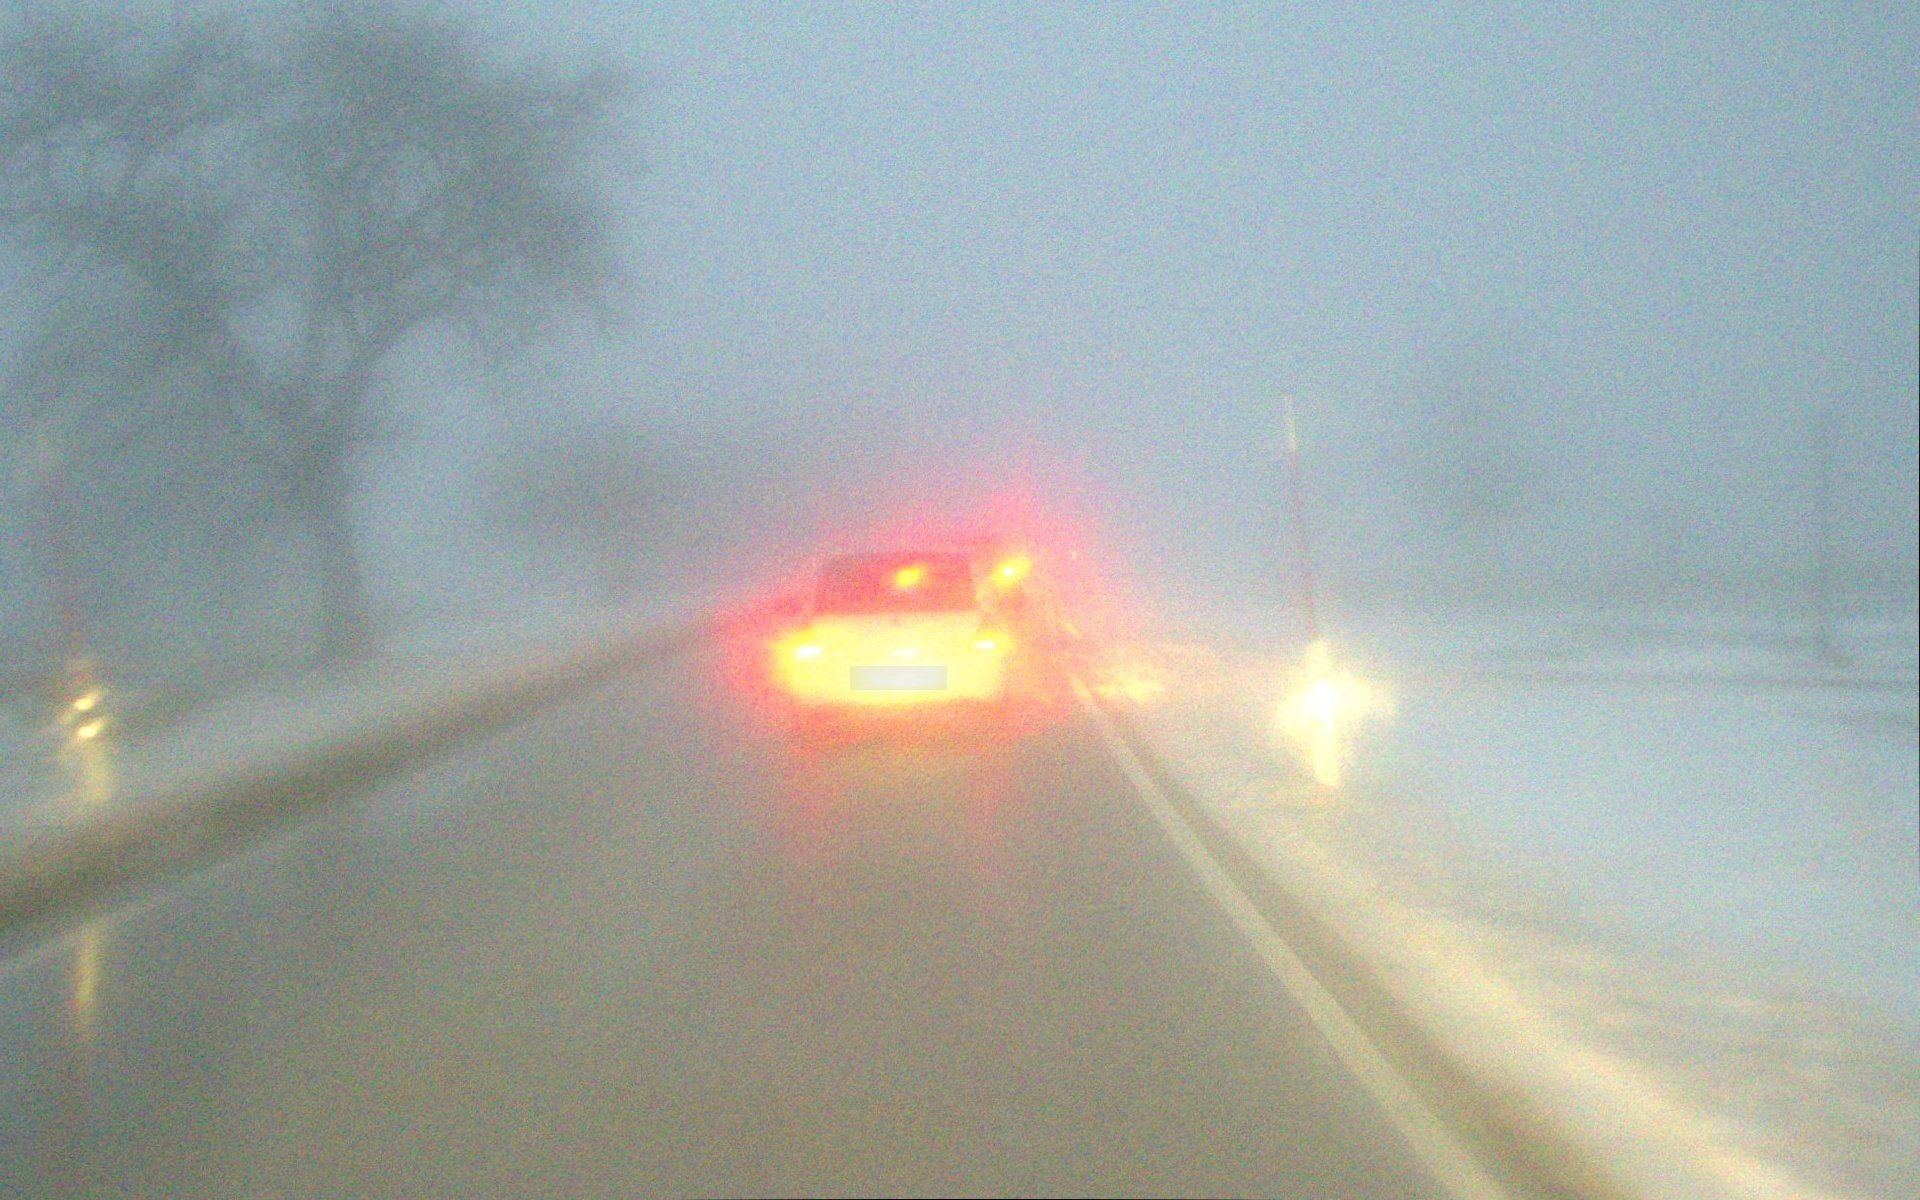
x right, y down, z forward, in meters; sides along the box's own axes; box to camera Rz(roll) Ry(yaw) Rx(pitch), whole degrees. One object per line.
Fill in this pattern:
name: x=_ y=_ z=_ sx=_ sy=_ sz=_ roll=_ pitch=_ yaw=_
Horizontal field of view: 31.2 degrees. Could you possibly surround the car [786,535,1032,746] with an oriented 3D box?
car: x=-0.368 y=0.265 z=26.061 sx=1.707 sy=1.458 sz=4.000 roll=1 pitch=1 yaw=0
